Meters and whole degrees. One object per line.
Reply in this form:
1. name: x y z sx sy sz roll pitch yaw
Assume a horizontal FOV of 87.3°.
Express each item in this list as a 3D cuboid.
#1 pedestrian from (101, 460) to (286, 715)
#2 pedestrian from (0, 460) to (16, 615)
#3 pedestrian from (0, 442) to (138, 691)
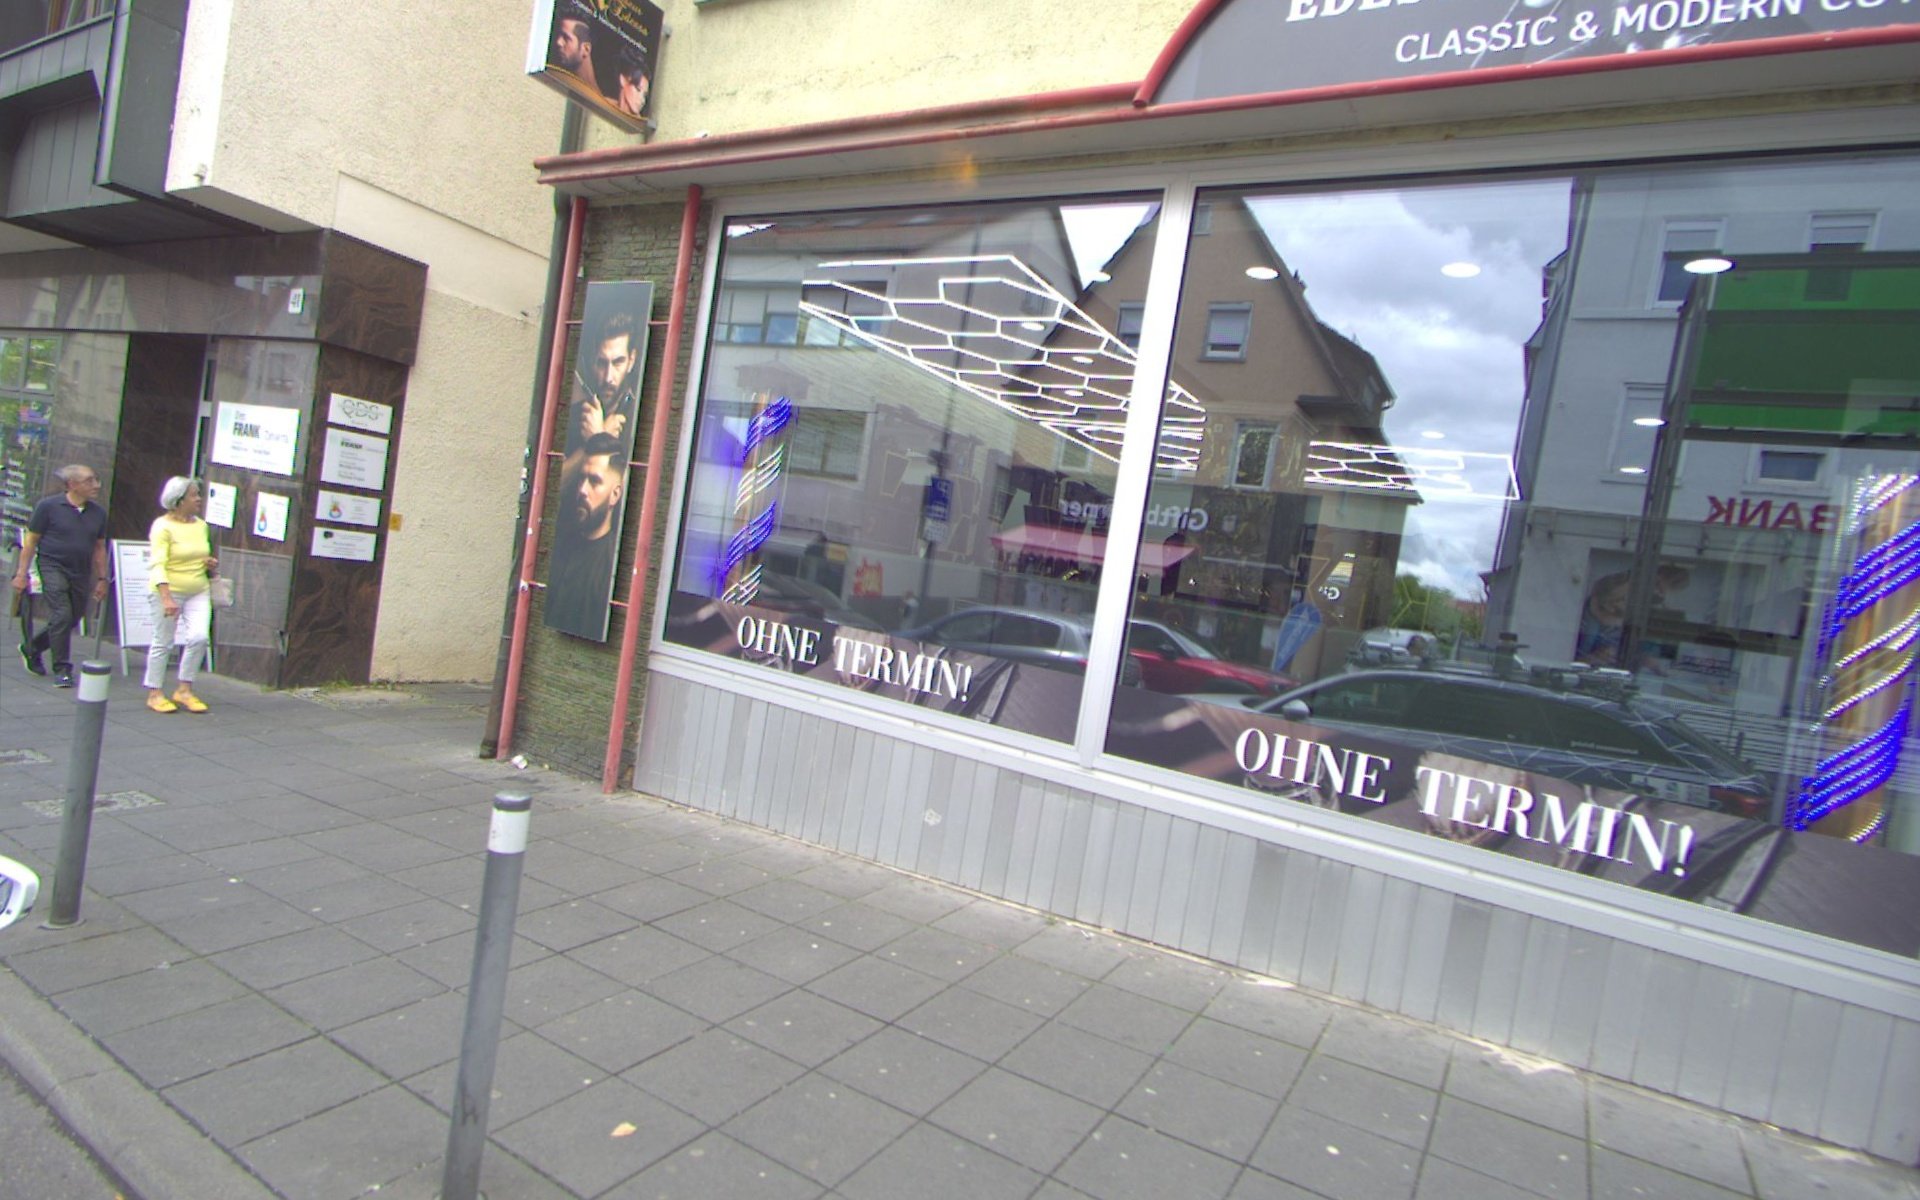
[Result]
1. pedestrian: -5.399 -0.093 7.091 0.821 1.653 0.711 7 3 31
2. pedestrian: -10.921 -0.708 11.026 0.533 1.712 0.663 7 4 25
3. pedestrian: -6.921 -0.255 7.674 0.772 1.776 0.711 7 3 31
